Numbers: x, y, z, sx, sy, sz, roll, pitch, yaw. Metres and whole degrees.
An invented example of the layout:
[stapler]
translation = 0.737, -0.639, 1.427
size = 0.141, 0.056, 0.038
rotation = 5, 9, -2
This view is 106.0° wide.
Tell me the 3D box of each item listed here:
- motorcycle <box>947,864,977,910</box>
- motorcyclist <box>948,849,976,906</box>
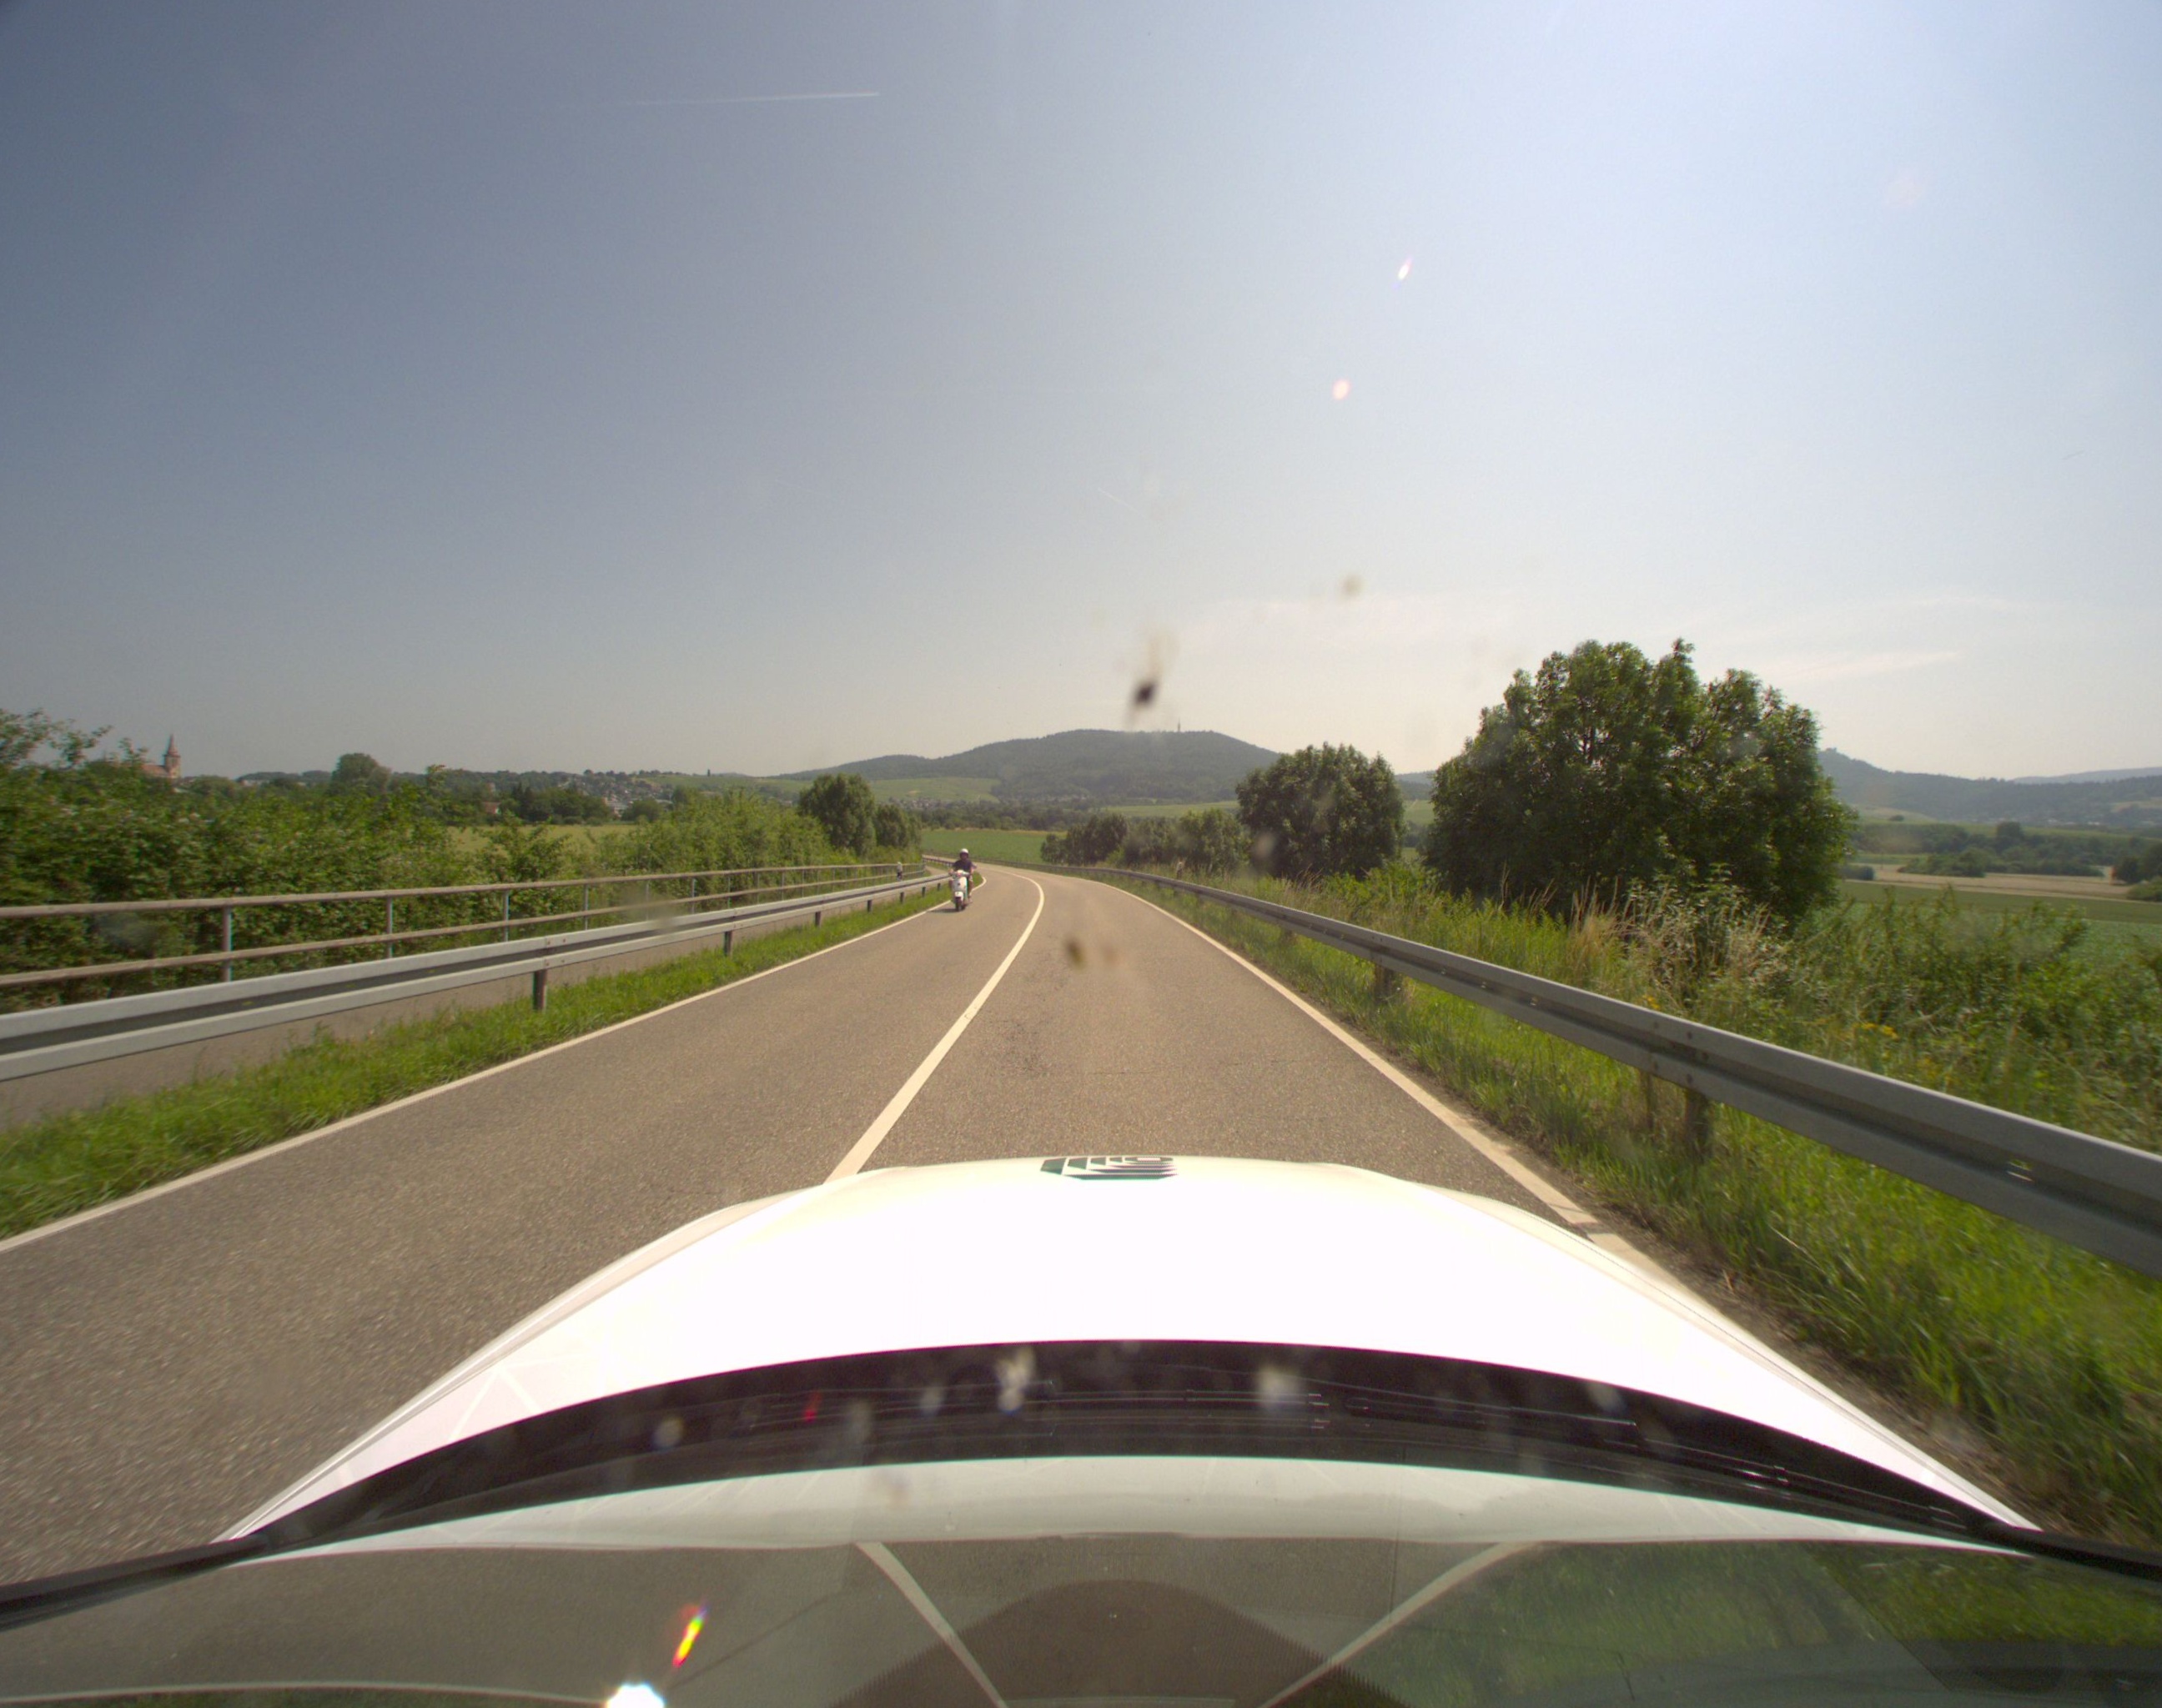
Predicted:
[motorcycle]
translation = -3.288, 0.895, 22.660
size = 0.641, 1.223, 1.637
rotation = -1, 0, -2
[motorcyclist]
translation = -3.317, 0.636, 22.777
size = 0.652, 1.562, 0.774
rotation = -1, 0, -3
